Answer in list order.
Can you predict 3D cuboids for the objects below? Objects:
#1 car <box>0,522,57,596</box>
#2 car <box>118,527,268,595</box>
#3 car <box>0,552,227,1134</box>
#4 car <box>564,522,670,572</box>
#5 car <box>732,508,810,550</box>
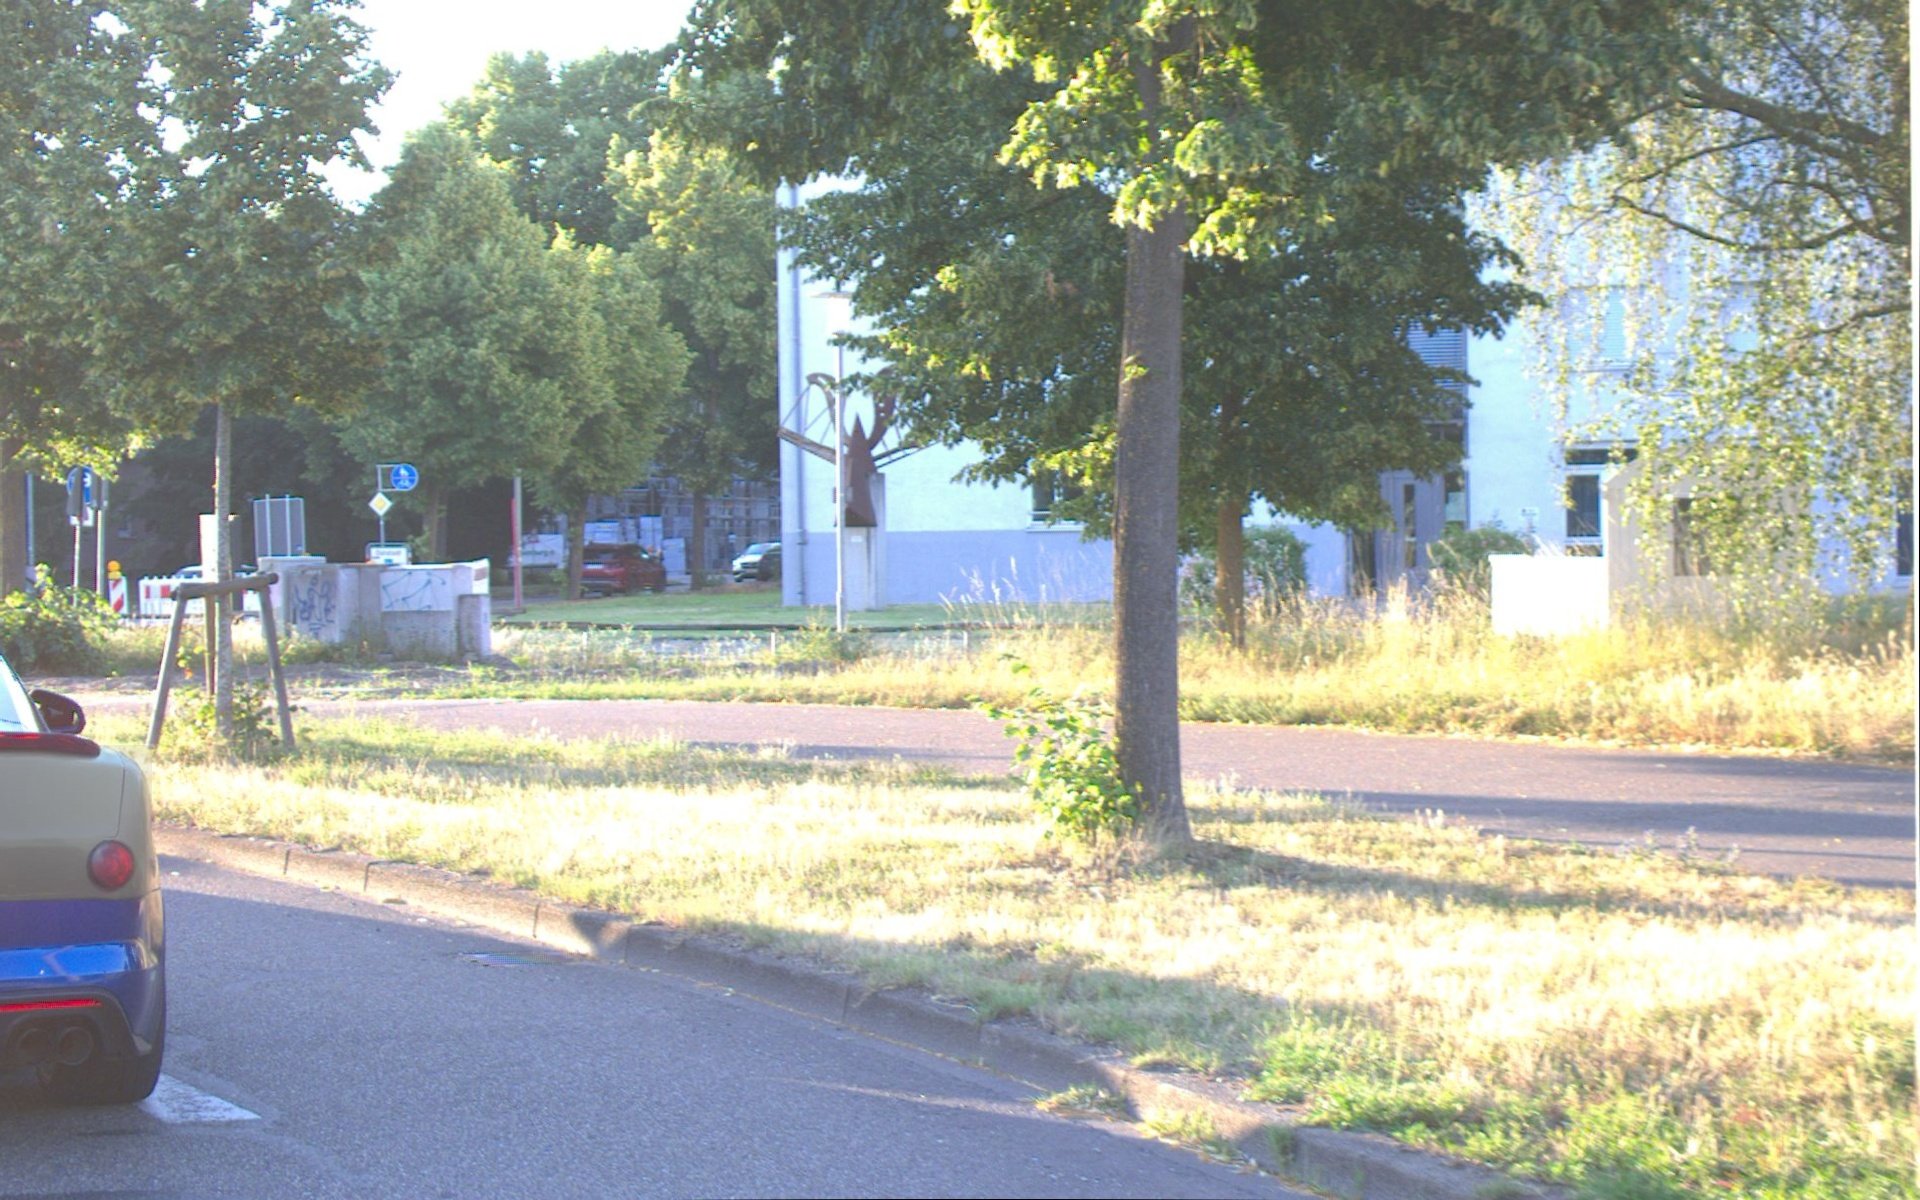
[{"bbox_3d":[-19.235,-0.784,66.527,1.877,1.396,3.915,-1,1,11],"label":"car"},{"bbox_3d":[-17.052,-0.886,76.578,1.876,1.396,3.915,0,2,10],"label":"car"},{"bbox_3d":[-3.559,0.518,9.928,1.951,1.337,4.672,1,1,-23],"label":"car"},{"bbox_3d":[-10.109,-1.580,101.636,1.877,1.396,3.914,0,2,15],"label":"car"},{"bbox_3d":[-6.615,-2.506,120.490,1.876,1.396,3.915,0,2,10],"label":"car"}]
